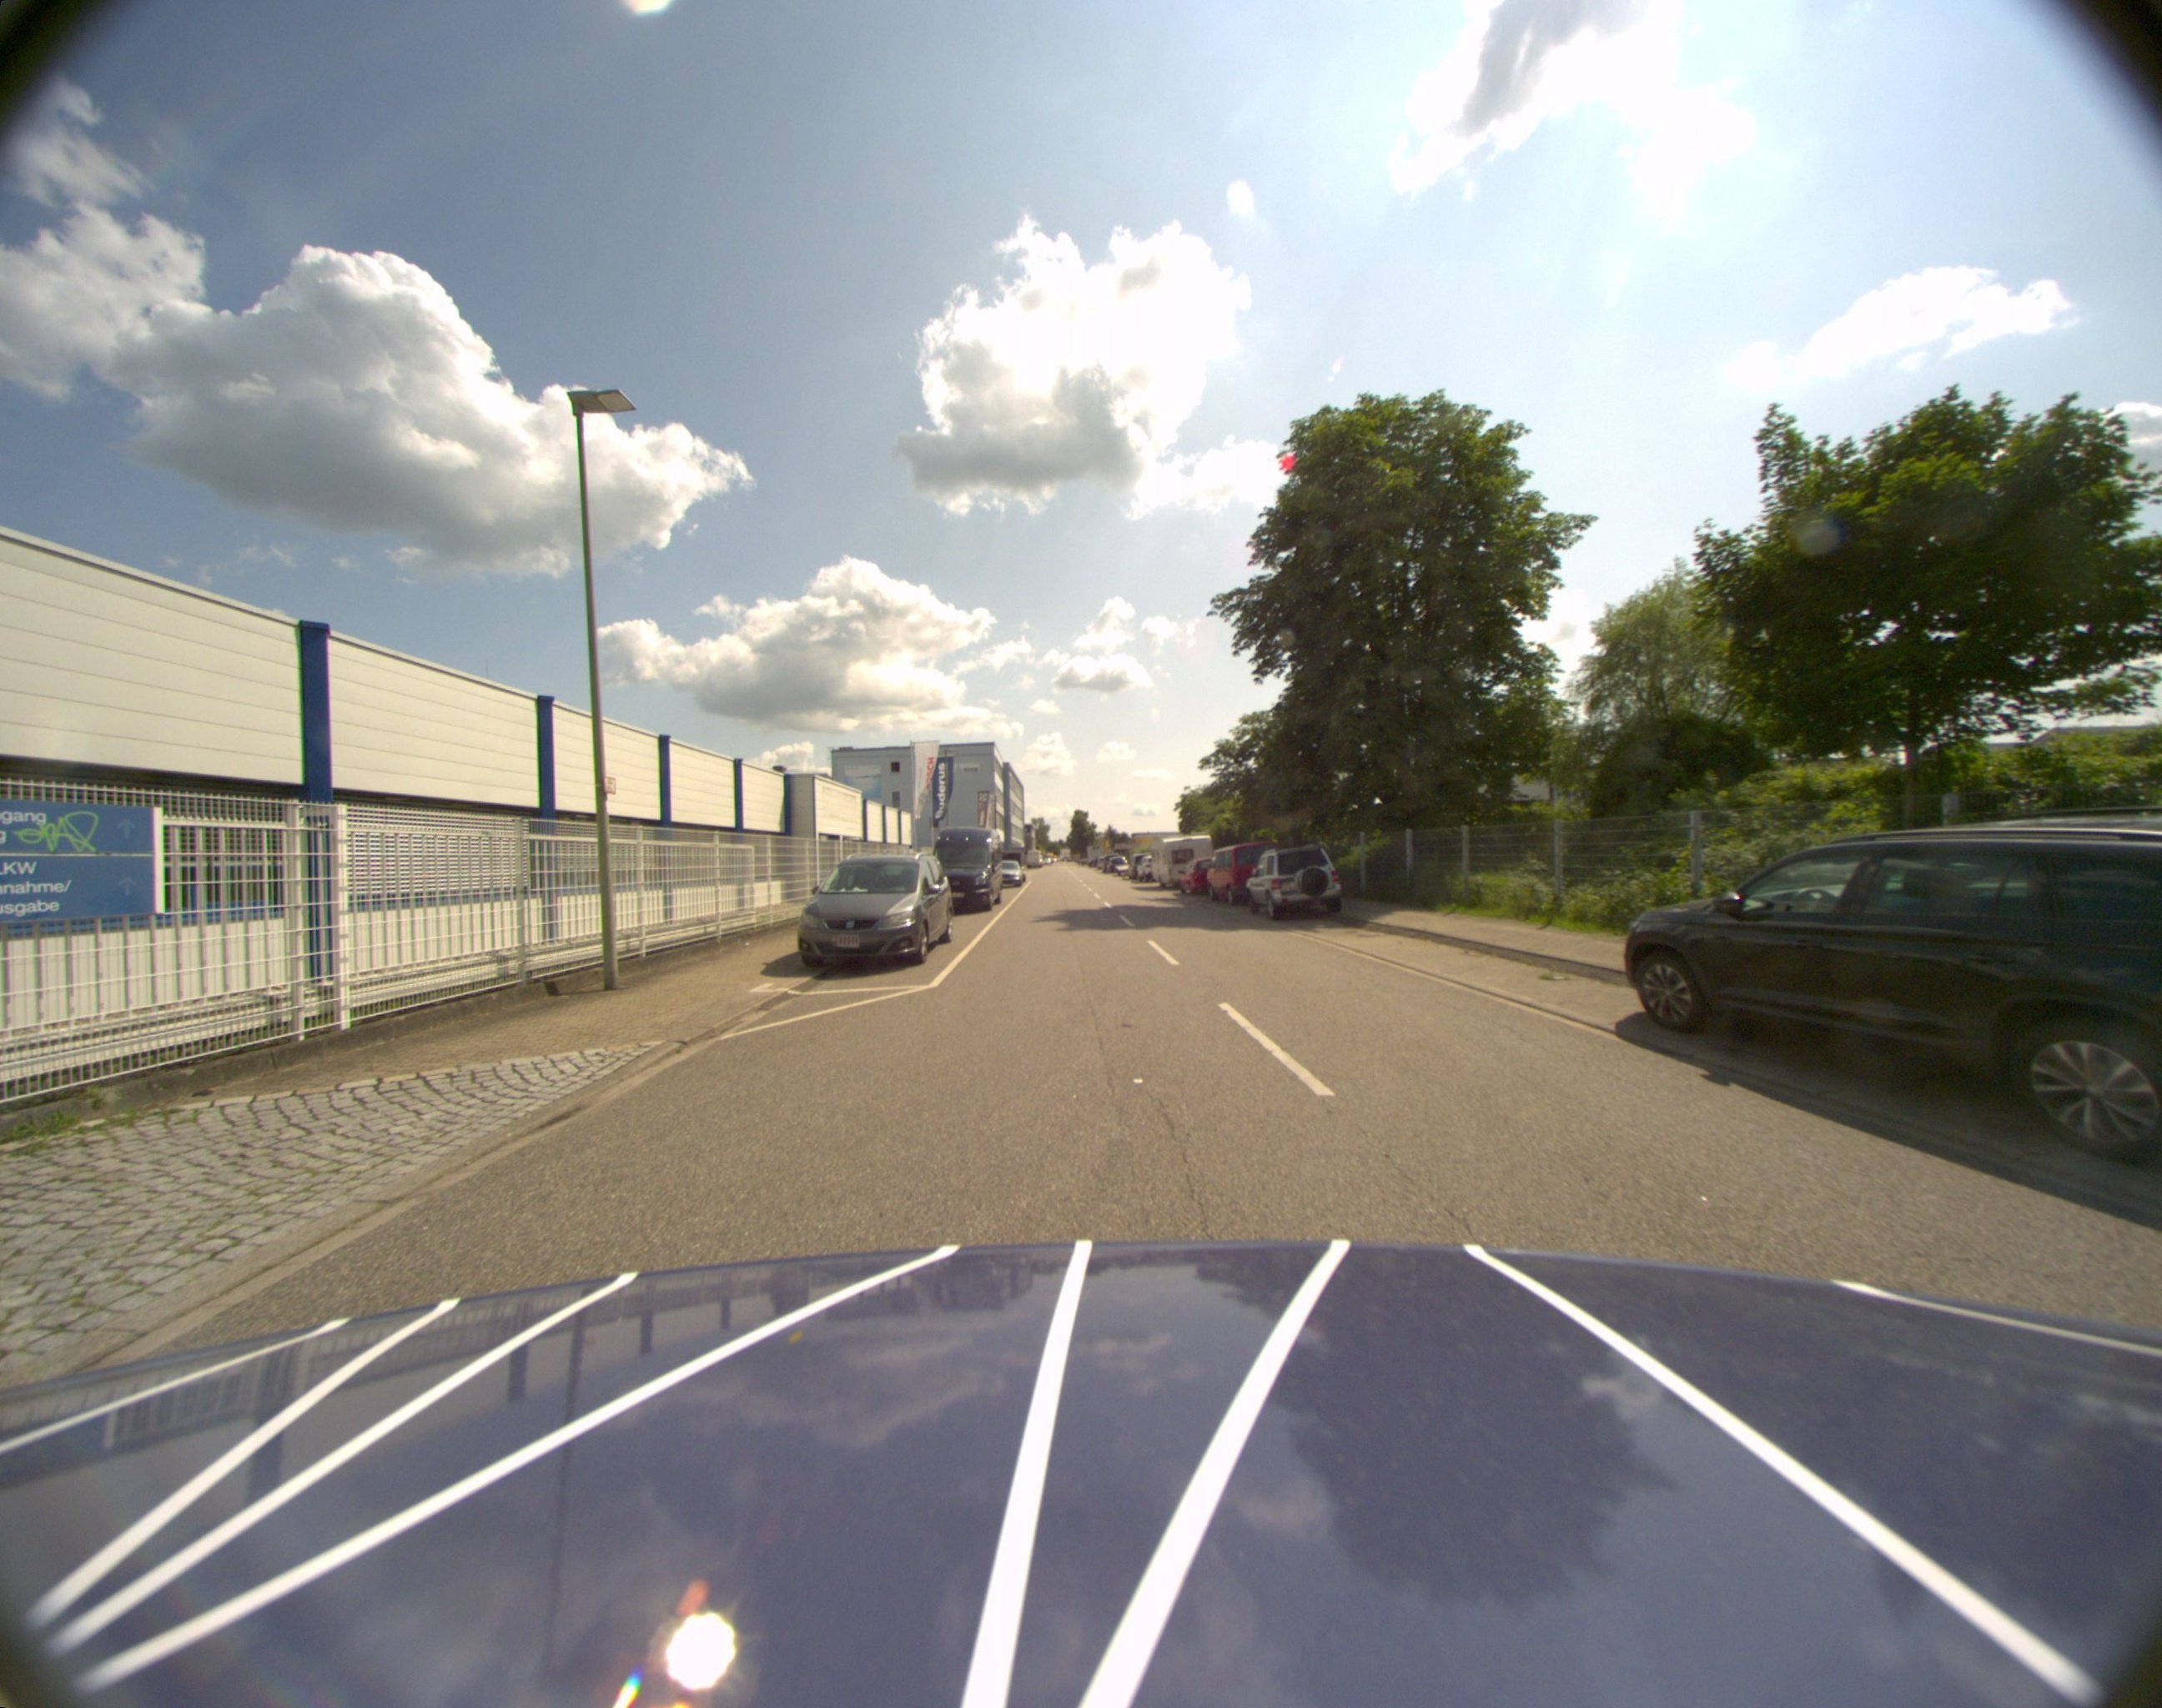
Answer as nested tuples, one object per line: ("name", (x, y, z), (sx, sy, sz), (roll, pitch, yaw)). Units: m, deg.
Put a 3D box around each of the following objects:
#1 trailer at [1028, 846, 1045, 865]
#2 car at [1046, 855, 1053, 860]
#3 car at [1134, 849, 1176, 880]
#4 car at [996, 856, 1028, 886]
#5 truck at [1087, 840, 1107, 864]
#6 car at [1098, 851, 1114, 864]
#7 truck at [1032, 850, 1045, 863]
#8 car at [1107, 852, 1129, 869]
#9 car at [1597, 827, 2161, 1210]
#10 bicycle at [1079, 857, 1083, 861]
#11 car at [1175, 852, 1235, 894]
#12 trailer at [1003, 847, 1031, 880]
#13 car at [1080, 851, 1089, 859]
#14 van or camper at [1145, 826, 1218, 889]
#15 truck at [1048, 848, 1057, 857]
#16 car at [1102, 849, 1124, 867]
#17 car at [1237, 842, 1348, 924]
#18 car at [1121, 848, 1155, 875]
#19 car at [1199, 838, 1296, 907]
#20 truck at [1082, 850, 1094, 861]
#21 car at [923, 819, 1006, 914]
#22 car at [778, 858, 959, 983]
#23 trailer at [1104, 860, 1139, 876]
("trailer", (-6.065, 0.163, 104.691), (1.873, 2.538, 5.071), (-1, 0, 1))
("car", (-7.823, 0.835, 188.137), (1.657, 1.324, 3.999), (-1, 0, -2))
("car", (4.551, 0.646, 47.583), (1.688, 1.682, 4.442), (-6, 1, -5))
("car", (-3.822, 0.900, 42.595), (1.576, 1.499, 4.131), (-1, 0, -2))
("truck", (2.446, -0.226, 117.418), (2.256, 3.342, 6.905), (-6, 0, -2))
("car", (2.946, 0.385, 90.486), (1.620, 1.475, 3.709), (-4, 0, -2))
("truck", (-6.534, 0.380, 117.272), (1.969, 2.023, 4.733), (-1, 0, -2))
("car", (3.501, 0.567, 71.887), (1.581, 1.504, 4.200), (-2, 1, -4))
("car", (5.797, 0.748, 4.953), (1.615, 1.735, 4.635), (-3, 0, 0))
("bicycle", (-0.015, 0.988, 143.028), (0.589, 0.737, 2.125), (-1, 0, 1))
("car", (5.186, 0.758, 32.251), (1.629, 1.523, 4.267), (-5, 1, -2))
("trailer", (-4.138, 0.606, 49.176), (1.606, 2.025, 2.740), (-2, 1, -2))
("car", (1.141, 0.424, 226.676), (1.997, 2.289, 4.002), (-1, 0, 8))
("van or camper", (5.053, 0.129, 39.360), (2.269, 2.787, 6.831), (-5, 1, -3))
("truck", (-8.269, -0.440, 220.978), (2.403, 2.787, 6.374), (-1, 0, 0))
("car", (3.210, 0.387, 77.155), (1.806, 1.739, 4.712), (-1, 0, -2))
("car", (5.369, 0.674, 19.807), (1.704, 1.791, 3.826), (-5, 0, 0))
("car", (3.988, 0.492, 54.157), (1.832, 1.783, 4.734), (-1, 0, -2))
("car", (5.588, 0.551, 26.220), (1.903, 1.943, 4.956), (-7, 1, -2))
("truck", (1.504, 0.284, 160.725), (2.133, 2.225, 7.349), (-4, 0, 1))
("car", (-3.705, 0.360, 25.262), (1.943, 2.732, 6.153), (-1, 0, -2))
("car", (-3.290, 0.925, 12.745), (1.830, 1.655, 4.555), (-1, 0, -1))
("trailer", (3.313, 1.129, 63.629), (2.277, 0.878, 7.130), (-6, 1, -2))
